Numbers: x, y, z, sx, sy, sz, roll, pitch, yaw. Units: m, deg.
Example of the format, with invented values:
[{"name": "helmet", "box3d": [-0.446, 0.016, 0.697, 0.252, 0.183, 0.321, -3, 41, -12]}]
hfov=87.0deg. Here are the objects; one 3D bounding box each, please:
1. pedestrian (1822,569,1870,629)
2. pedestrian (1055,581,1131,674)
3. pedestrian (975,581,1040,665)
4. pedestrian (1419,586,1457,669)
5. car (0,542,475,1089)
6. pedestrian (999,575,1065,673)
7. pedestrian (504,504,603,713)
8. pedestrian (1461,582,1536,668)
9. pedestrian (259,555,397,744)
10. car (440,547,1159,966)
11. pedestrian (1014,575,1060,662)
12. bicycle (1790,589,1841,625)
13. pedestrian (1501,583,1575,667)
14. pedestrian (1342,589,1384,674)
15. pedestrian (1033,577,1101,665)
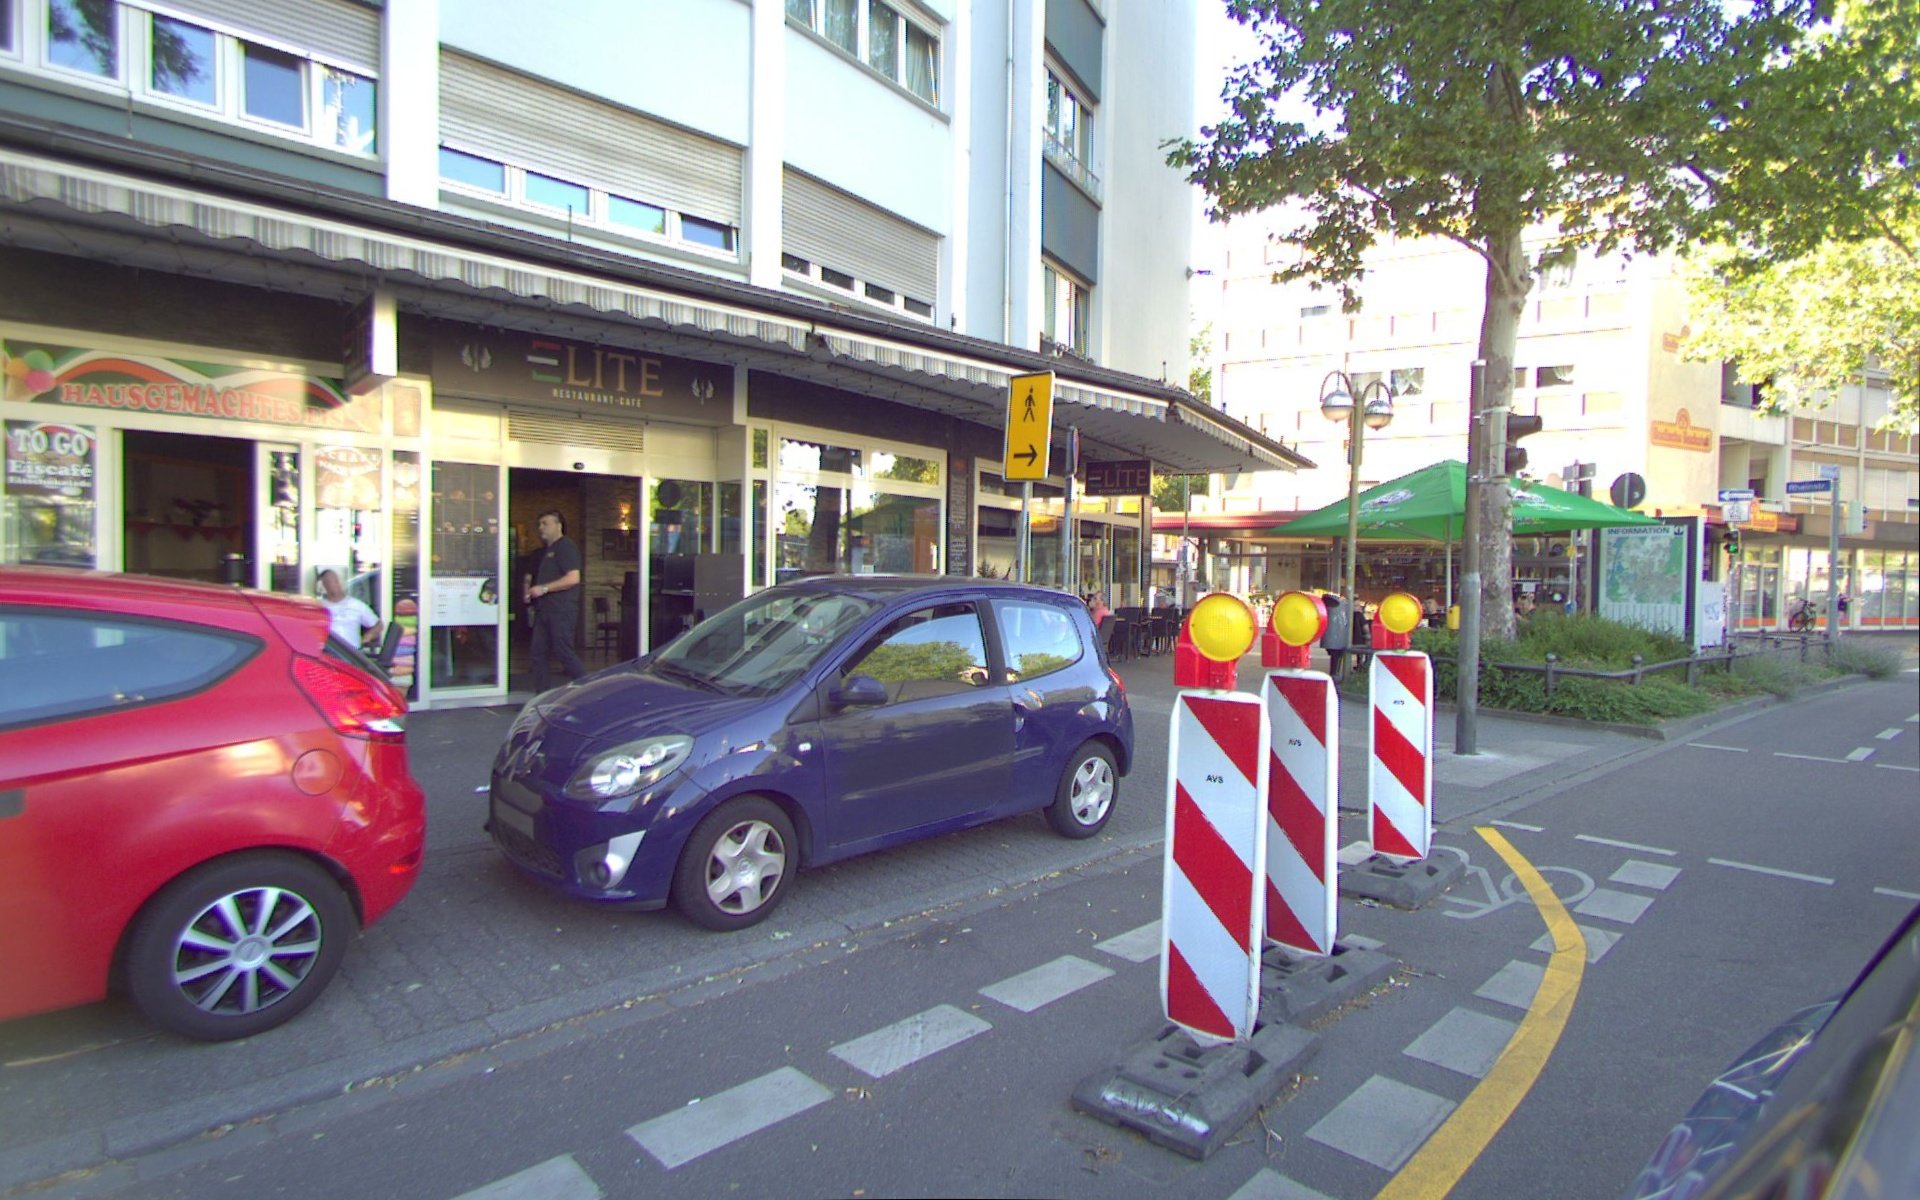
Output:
[{"name": "pedestrian", "box3d": [26.777, -0.038, 30.580, 0.883, 1.779, 0.751, 0, 1, -24]}, {"name": "pedestrian", "box3d": [1.847, 0.367, 14.024, 0.838, 1.213, 0.644, 3, 1, 27]}, {"name": "pedestrian", "box3d": [0.694, 0.320, 14.654, 0.710, 1.144, 0.645, 3, 1, 25]}, {"name": "pedestrian", "box3d": [7.446, 0.421, 15.768, 0.427, 1.234, 0.465, 3, 2, 20]}, {"name": "car", "box3d": [-3.652, 0.564, 2.849, 1.667, 1.446, 3.786, 5, 4, 44]}, {"name": "pedestrian", "box3d": [0.983, 0.314, 13.750, 0.644, 1.267, 0.711, 3, 1, 25]}, {"name": "pedestrian", "box3d": [-3.574, 0.054, 8.897, 0.579, 1.756, 0.596, 1, 3, -43]}, {"name": "pedestrian", "box3d": [8.409, 0.374, 15.819, 0.752, 1.301, 0.721, 0, 1, -27]}, {"name": "pedestrian", "box3d": [-4.832, 0.319, 7.709, 0.765, 1.247, 1.207, -1, 5, -38]}, {"name": "car", "box3d": [-0.655, 0.532, 5.499, 3.545, 1.484, 1.621, 0, 4, -44]}, {"name": "pedestrian", "box3d": [1.157, 0.273, 15.275, 0.541, 1.259, 0.521, 2, 1, -7]}, {"name": "bicycle", "box3d": [28.116, 0.224, 33.251, 1.933, 1.157, 0.530, 0, 1, -26]}, {"name": "pedestrian", "box3d": [9.259, 0.384, 16.221, 0.753, 1.301, 0.720, 0, 1, -28]}, {"name": "pedestrian", "box3d": [5.934, 0.453, 14.912, 0.460, 1.235, 0.432, 1, 0, 5]}, {"name": "pedestrian", "box3d": [1.578, 0.297, 14.915, 0.664, 1.233, 0.706, 3, 1, 43]}]
